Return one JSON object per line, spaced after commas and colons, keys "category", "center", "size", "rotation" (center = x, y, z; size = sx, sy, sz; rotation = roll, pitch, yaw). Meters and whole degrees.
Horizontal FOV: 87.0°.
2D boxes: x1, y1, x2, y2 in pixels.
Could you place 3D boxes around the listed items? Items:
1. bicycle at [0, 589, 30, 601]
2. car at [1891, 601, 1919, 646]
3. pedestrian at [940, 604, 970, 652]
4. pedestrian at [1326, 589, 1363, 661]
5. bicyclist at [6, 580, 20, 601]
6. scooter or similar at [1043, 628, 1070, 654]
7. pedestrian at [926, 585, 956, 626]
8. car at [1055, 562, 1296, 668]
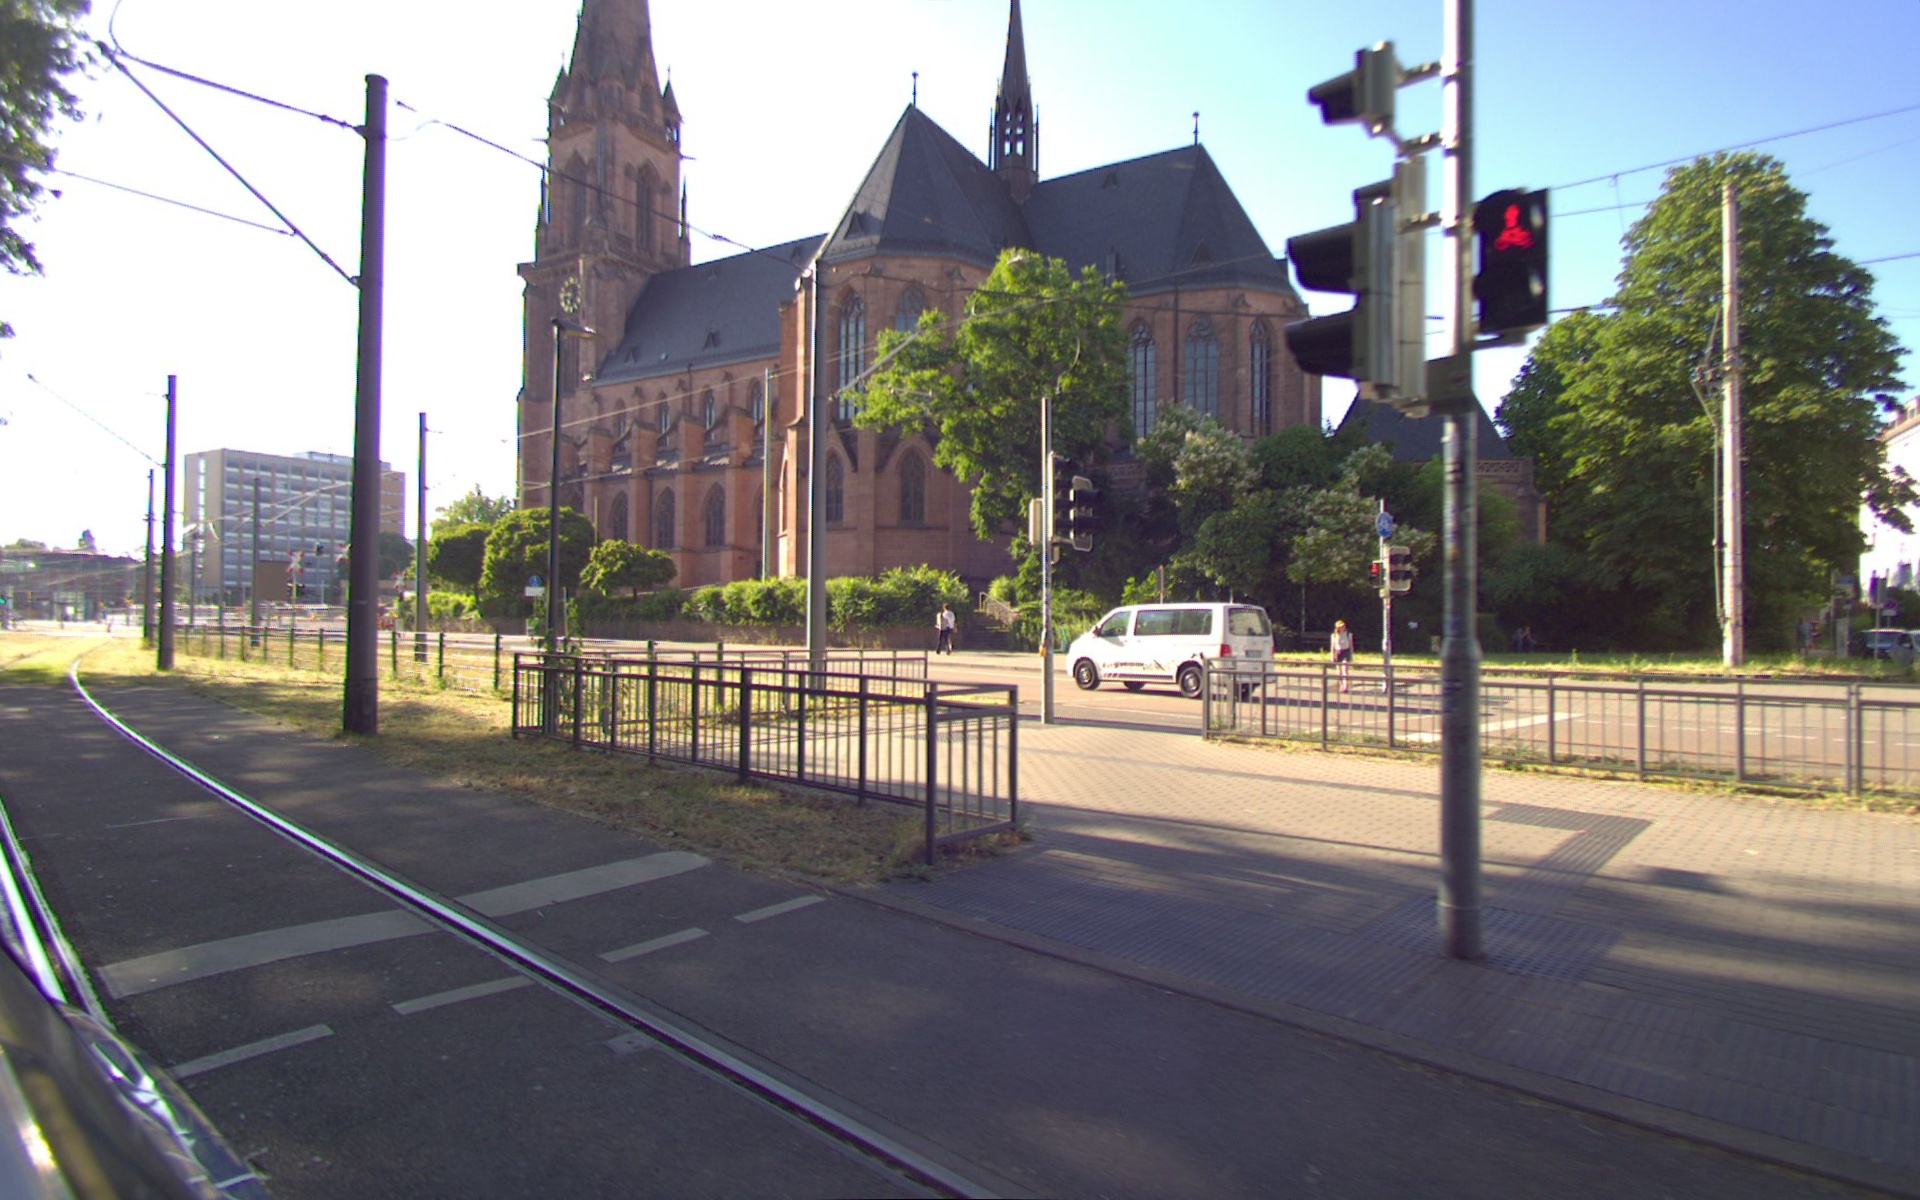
{"category": "bicycle", "center": [-85.472, -0.438, 91.444], "size": [2.032, 1.091, 0.612], "rotation": [-1, 0, -30]}
{"category": "car", "center": [31.847, 0.741, 32.907], "size": [1.694, 1.431, 3.634], "rotation": [-1, -1, 33]}
{"category": "pedestrian", "center": [-0.199, 1.074, 38.746], "size": [0.946, 1.797, 0.580], "rotation": [-1, 0, 39]}
{"category": "pedestrian", "center": [9.131, 0.581, 24.009], "size": [0.752, 1.686, 0.490], "rotation": [-1, 0, 28]}
{"category": "bicyclist", "center": [-85.518, -0.824, 91.415], "size": [0.763, 1.886, 0.612], "rotation": [-1, 0, -30]}
{"category": "scooter or similar", "center": [3.556, 1.517, 37.207], "size": [0.914, 0.943, 0.306], "rotation": [-1, 0, 22]}
{"category": "pedestrian", "center": [-0.725, 0.209, 38.191], "size": [0.946, 1.500, 0.580], "rotation": [-1, 0, 39]}
{"category": "car", "center": [4.569, 0.350, 22.196], "size": [1.968, 2.029, 5.022], "rotation": [4, -3, -38]}
